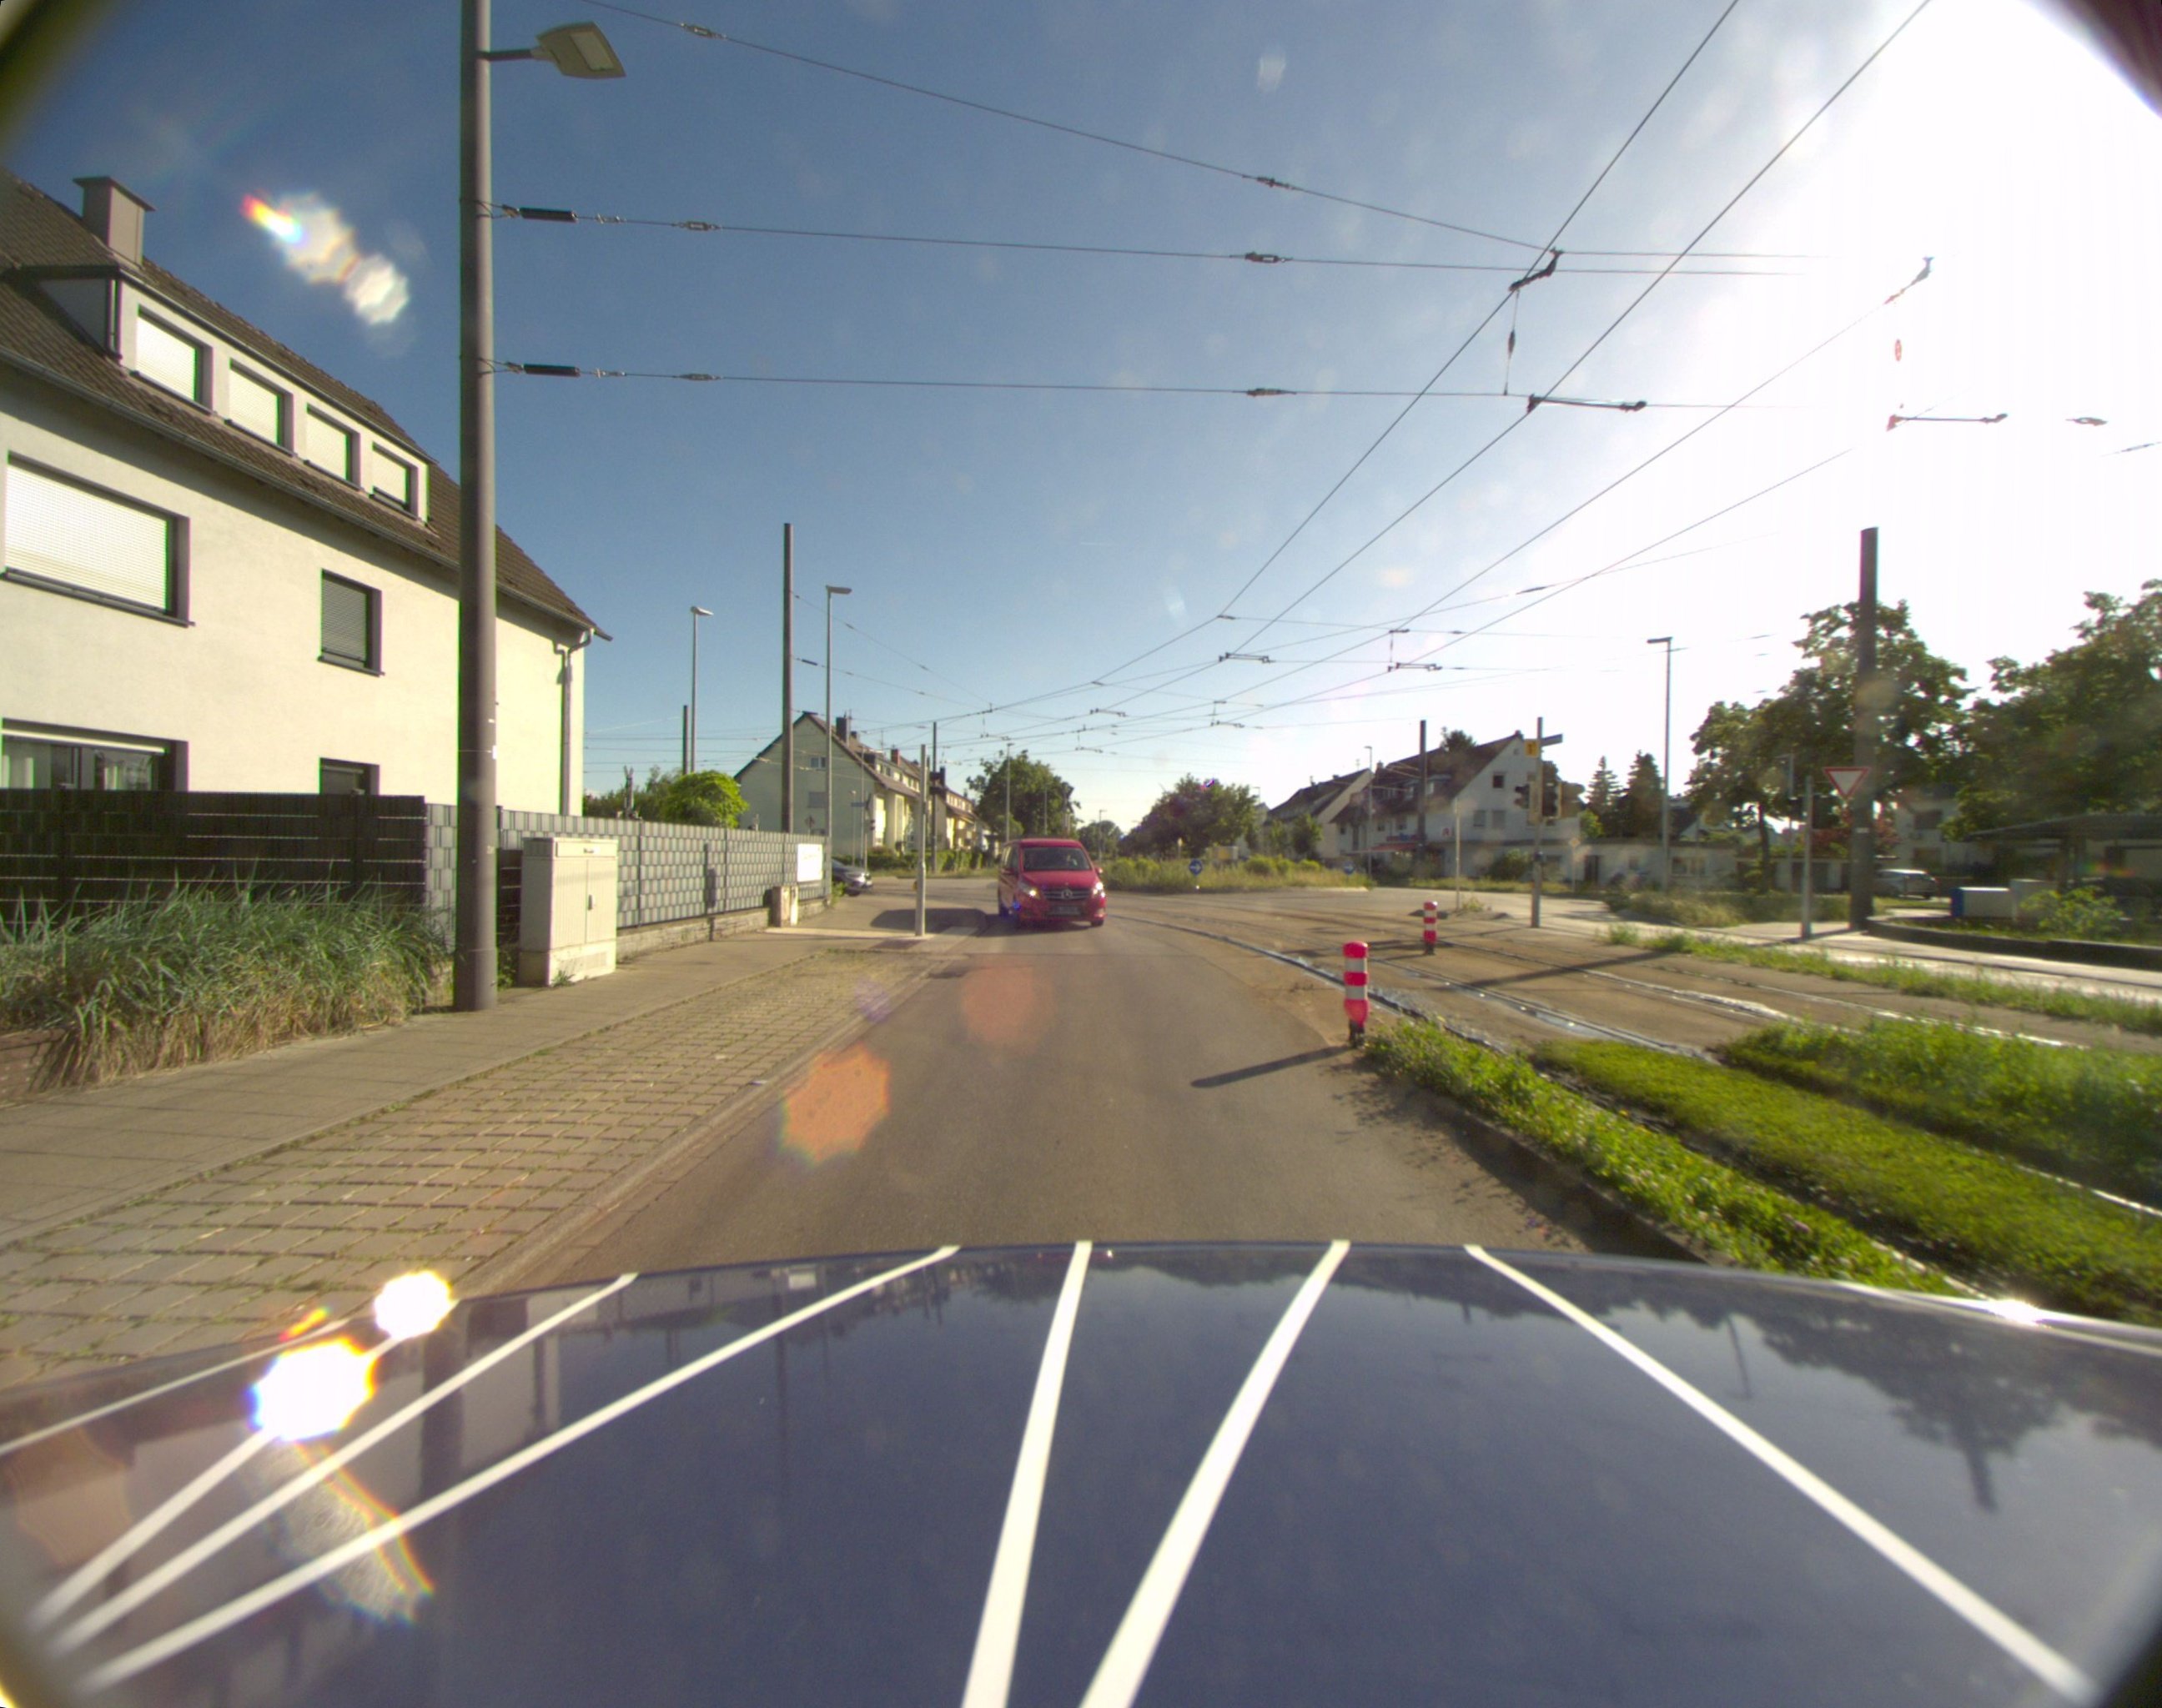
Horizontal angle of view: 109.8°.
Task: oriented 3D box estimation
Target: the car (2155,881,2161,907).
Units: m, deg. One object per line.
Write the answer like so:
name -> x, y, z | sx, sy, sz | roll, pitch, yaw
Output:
car -> 57.779, 2.135, 38.375 | 3.996, 1.316, 1.968 | 1, 2, 3

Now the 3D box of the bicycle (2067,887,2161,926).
bicycle -> 31.404, 1.574, 23.128 | 0.598, 1.022, 1.695 | 1, 2, 5

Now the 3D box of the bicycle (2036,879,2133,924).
bicycle -> 30.088, 1.409, 22.818 | 0.688, 1.201, 1.671 | 1, 2, 5

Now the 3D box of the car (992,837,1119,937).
car -> -0.784, 0.639, 17.877 | 2.001, 1.970, 5.231 | -1, 1, -13

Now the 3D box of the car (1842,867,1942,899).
car -> 48.729, 1.700, 45.783 | 1.997, 1.685, 4.053 | 1, 2, 9

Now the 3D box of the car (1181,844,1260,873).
car -> 8.654, 0.252, 47.301 | 4.427, 1.572, 1.840 | 2, 2, 35

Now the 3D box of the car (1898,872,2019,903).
car -> 44.096, 1.651, 38.233 | 3.996, 1.357, 1.600 | 1, 2, 3

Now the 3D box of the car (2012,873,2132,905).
car -> 51.530, 1.788, 39.556 | 3.799, 1.456, 1.804 | 1, 2, 0

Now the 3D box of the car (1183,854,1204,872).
car -> 14.011, 1.074, 94.748 | 1.895, 2.003, 4.369 | 1, 2, 0

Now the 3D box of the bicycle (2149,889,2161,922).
bicycle -> 33.796, 1.637, 22.816 | 0.695, 1.022, 1.979 | 1, 2, 5

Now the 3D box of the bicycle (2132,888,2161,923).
bicycle -> 32.868, 1.586, 22.586 | 0.688, 1.022, 1.847 | 1, 2, 5

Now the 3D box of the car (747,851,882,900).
car -> -9.188, 0.712, 26.362 | 3.995, 1.570, 1.832 | 1, 0, 5
